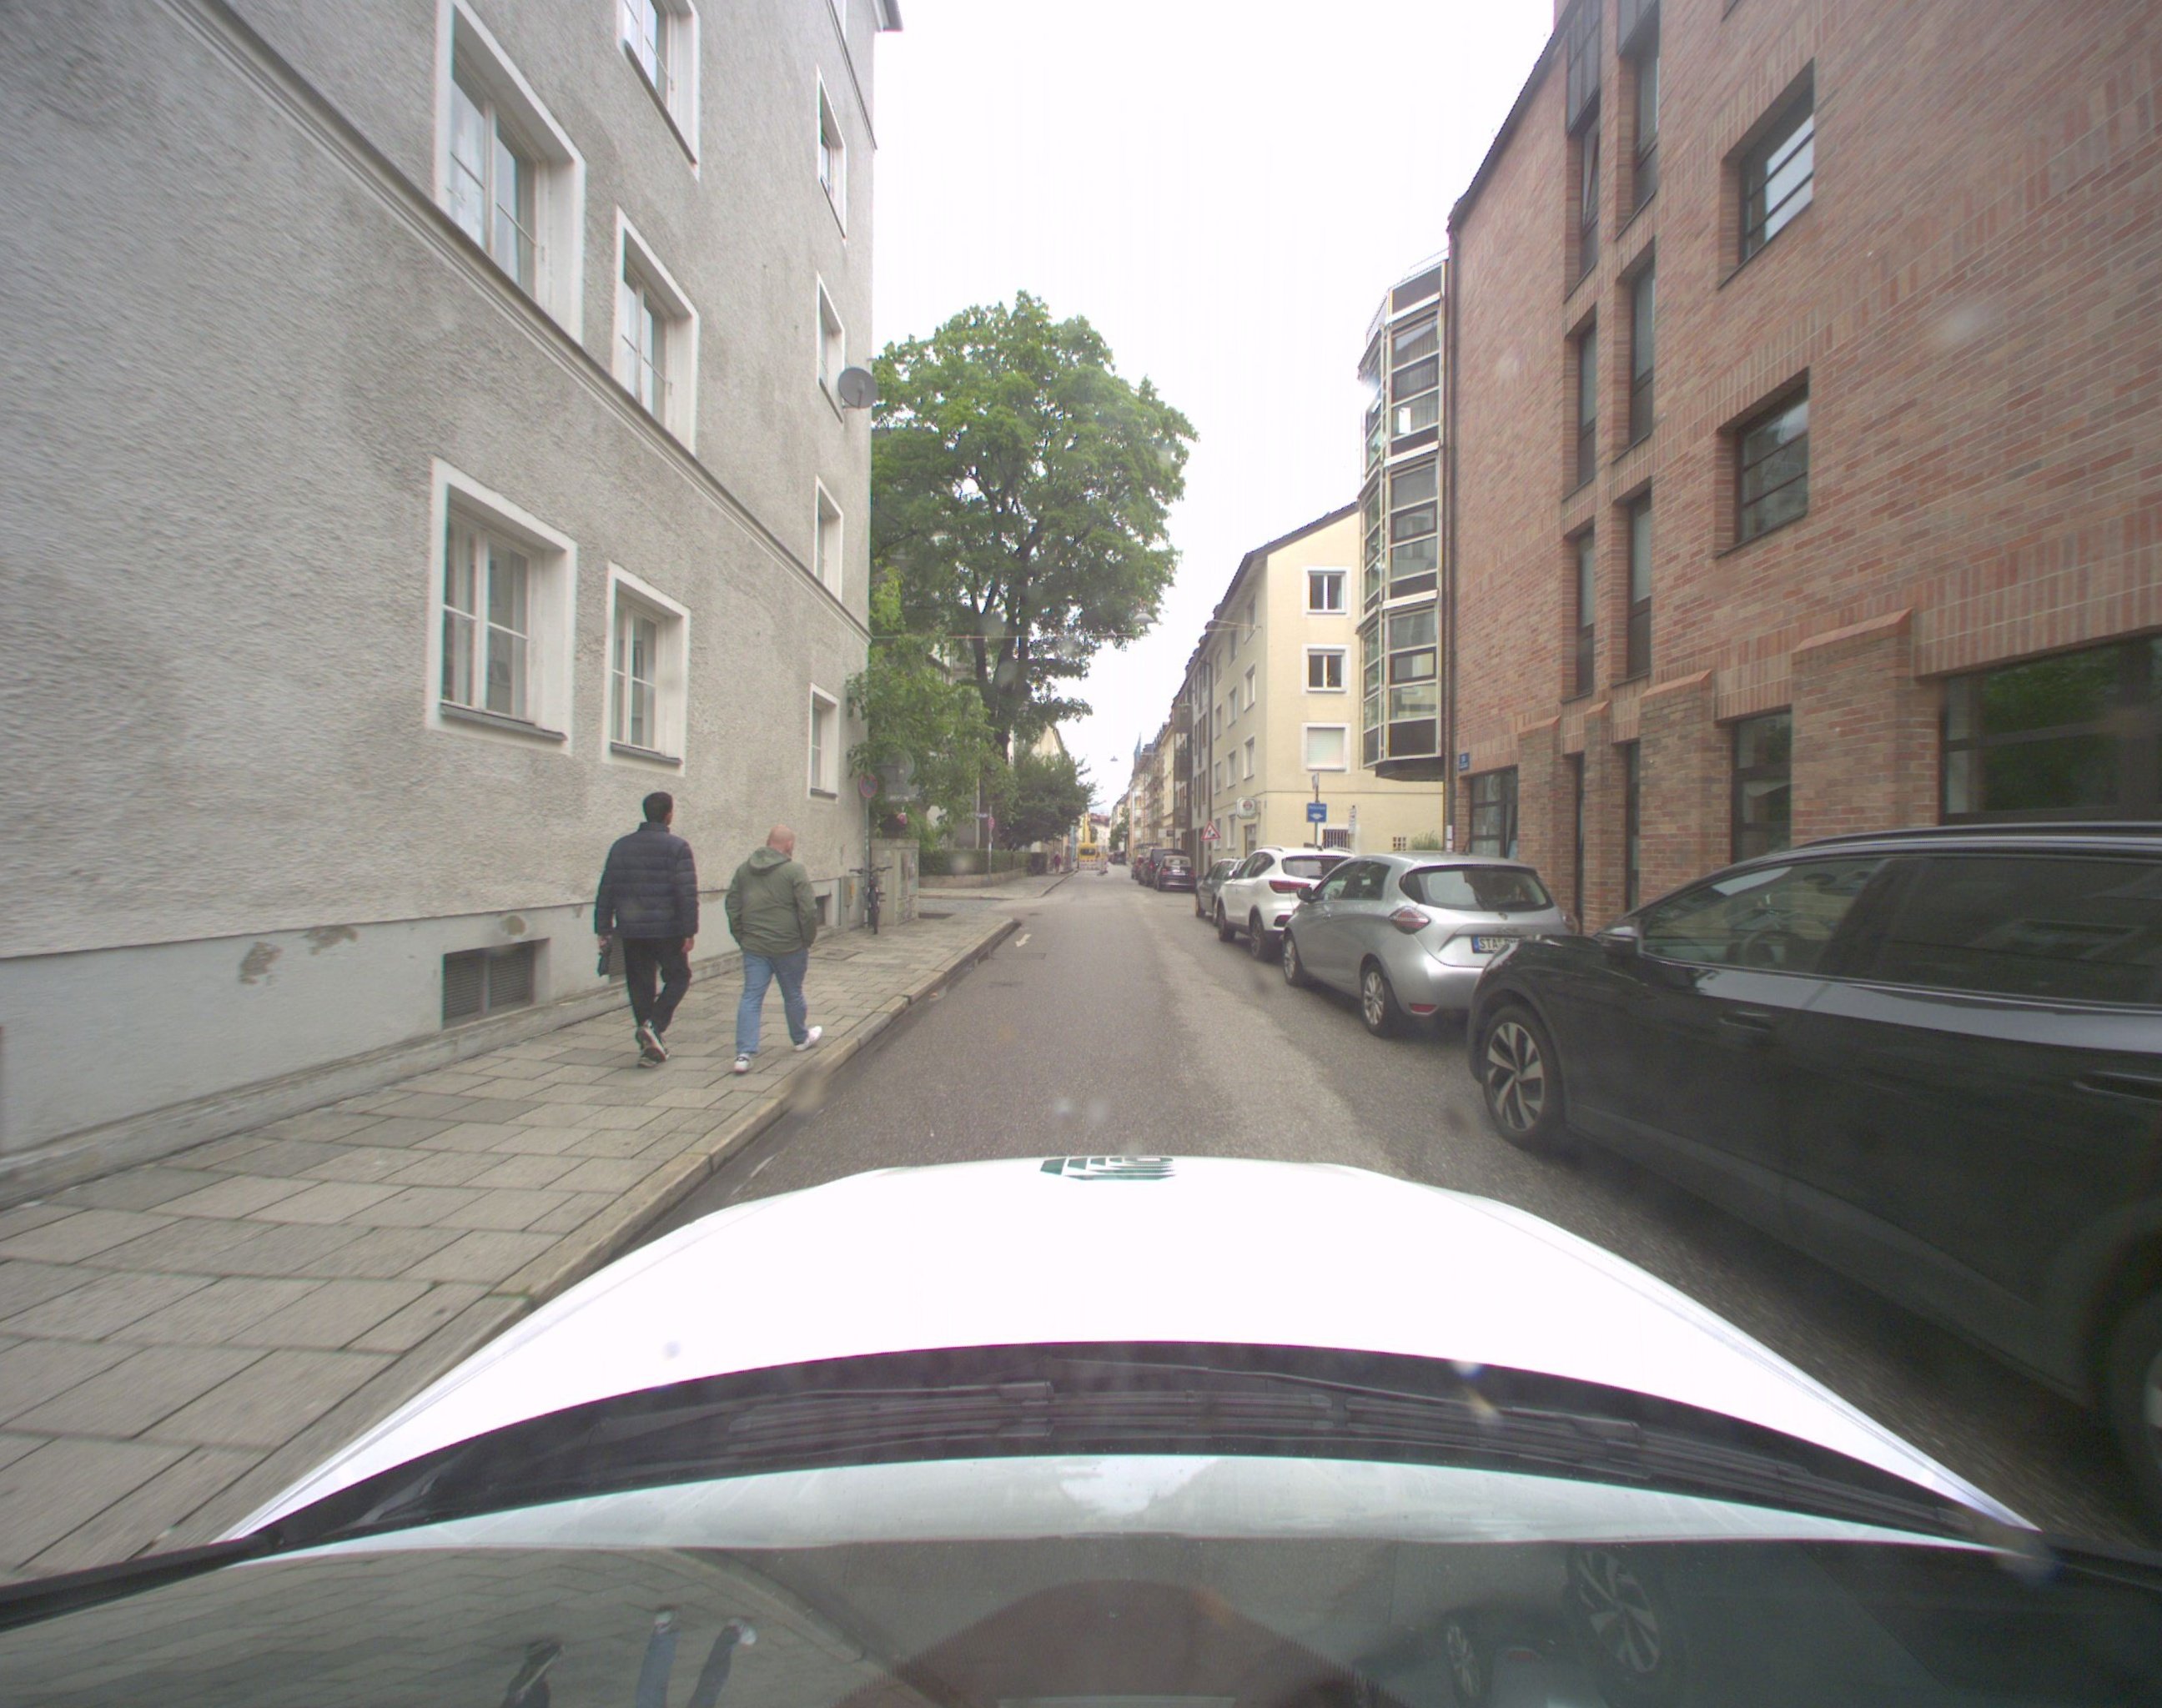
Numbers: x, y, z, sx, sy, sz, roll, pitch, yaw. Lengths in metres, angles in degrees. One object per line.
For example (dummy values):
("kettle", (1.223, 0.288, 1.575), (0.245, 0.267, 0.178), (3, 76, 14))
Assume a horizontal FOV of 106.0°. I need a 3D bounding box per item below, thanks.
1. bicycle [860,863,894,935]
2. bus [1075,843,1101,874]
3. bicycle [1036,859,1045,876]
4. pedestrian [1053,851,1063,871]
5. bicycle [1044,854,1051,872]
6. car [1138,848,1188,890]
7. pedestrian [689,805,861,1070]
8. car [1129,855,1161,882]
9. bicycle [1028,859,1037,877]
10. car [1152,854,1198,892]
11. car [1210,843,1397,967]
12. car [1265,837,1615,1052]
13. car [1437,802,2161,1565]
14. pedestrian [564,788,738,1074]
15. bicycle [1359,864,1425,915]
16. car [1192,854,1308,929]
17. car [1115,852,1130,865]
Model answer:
("bicycle", (-3.444, 0.720, 13.694), (0.474, 1.111, 1.750), (1, 0, -16))
("bus", (0.739, 0.465, 84.990), (2.583, 3.102, 6.307), (0, -1, 1))
("bicycle", (-2.637, 0.858, 53.112), (0.444, 1.073, 2.467), (0, -1, 0))
("pedestrian", (-1.728, 0.497, 61.497), (0.753, 1.491, 0.831), (0, -1, 1))
("bicycle", (-2.710, 0.708, 65.922), (0.512, 1.418, 1.934), (0, -1, 1))
("car", (3.896, 0.688, 39.267), (1.796, 1.820, 3.998), (4, 0, -1))
("pedestrian", (-2.080, 0.538, 5.663), (0.750, 1.659, 0.906), (3, -1, 1))
("car", (3.995, 0.863, 51.151), (1.630, 1.515, 3.829), (4, 0, 1))
("bicycle", (-2.838, 0.832, 47.575), (0.413, 1.020, 1.854), (0, -1, 1))
("car", (3.964, 0.777, 34.904), (1.619, 1.487, 3.809), (1, 0, 1))
("car", (3.282, 0.680, 12.855), (1.743, 1.630, 4.194), (0, 0, -1))
("car", (3.212, 0.708, 8.206), (1.716, 1.635, 3.878), (0, -1, -2))
("car", (3.143, 0.690, 2.781), (1.880, 1.555, 4.389), (1, 0, -1))
("pedestrian", (-2.787, 0.470, 5.367), (0.610, 1.713, 0.823), (3, -1, 1))
("bicycle", (7.172, 0.803, 18.845), (0.380, 1.080, 1.539), (2, 0, -27))
("car", (3.613, 0.744, 18.072), (1.739, 1.445, 3.999), (1, 0, 0))
("car", (5.995, 0.689, 116.907), (1.796, 1.712, 3.825), (4, 0, -1))
